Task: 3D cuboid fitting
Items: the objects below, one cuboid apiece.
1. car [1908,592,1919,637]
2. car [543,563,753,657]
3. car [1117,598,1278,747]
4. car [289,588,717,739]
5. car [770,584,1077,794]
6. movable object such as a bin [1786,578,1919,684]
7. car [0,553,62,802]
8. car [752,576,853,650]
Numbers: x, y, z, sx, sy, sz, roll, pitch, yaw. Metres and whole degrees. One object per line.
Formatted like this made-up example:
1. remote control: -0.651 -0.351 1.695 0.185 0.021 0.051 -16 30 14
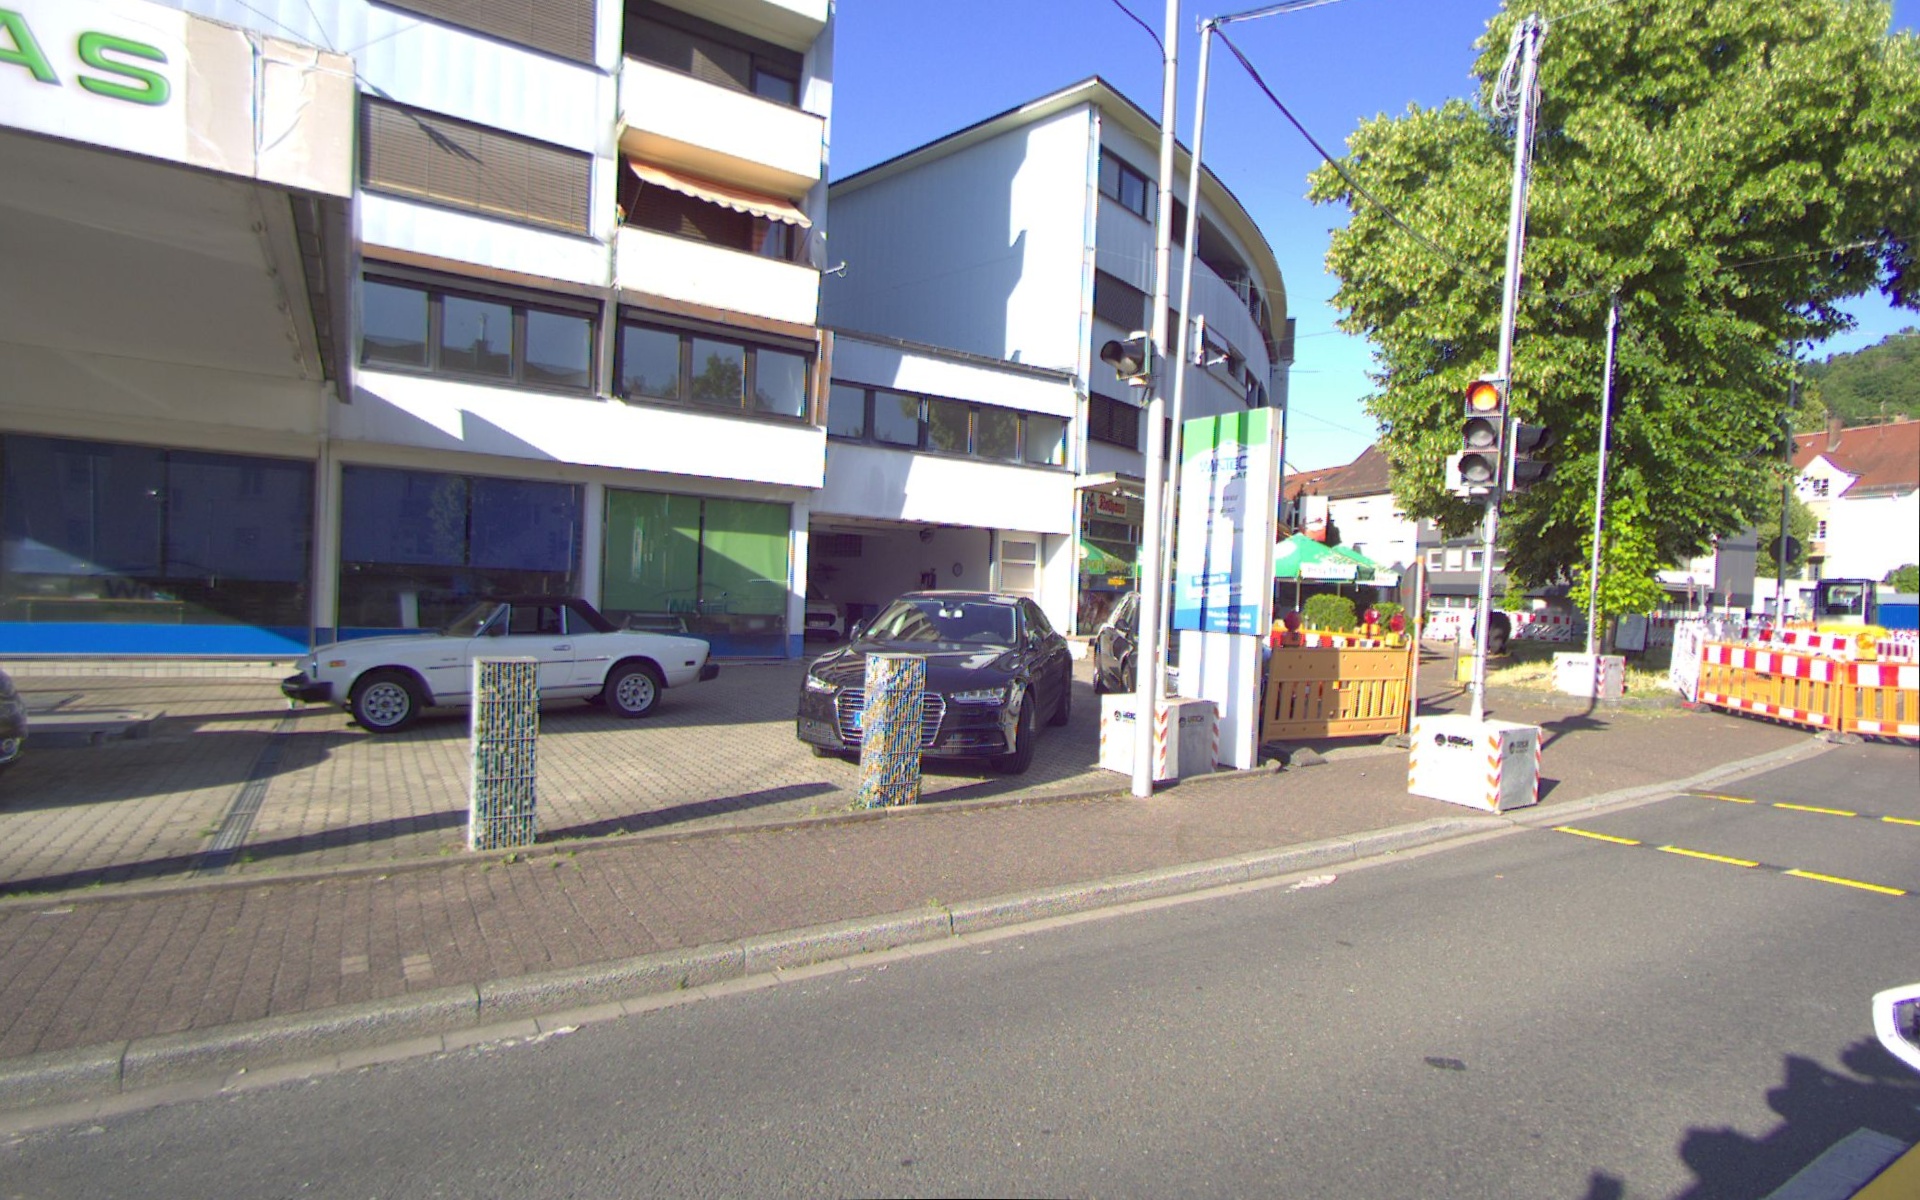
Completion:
1. car: 49.527 0.788 48.390 6.043 2.149 2.586 2 0 -12
2. car: -6.096 0.222 19.711 3.593 1.696 1.707 2 0 -34
3. car: 2.762 0.748 12.082 1.564 1.457 3.887 1 0 11
4. car: -4.671 0.595 10.489 3.865 1.315 1.511 1 -1 -35
5. car: -0.021 0.652 9.573 1.893 1.457 4.692 1 -1 11
6. movable object such as a bin: 21.541 0.702 24.151 3.882 2.356 1.635 1 0 -36
7. car: -7.478 0.412 5.860 3.305 1.506 1.543 2 0 8
8. car: -3.890 0.257 24.382 1.550 1.629 3.734 2 1 -23
